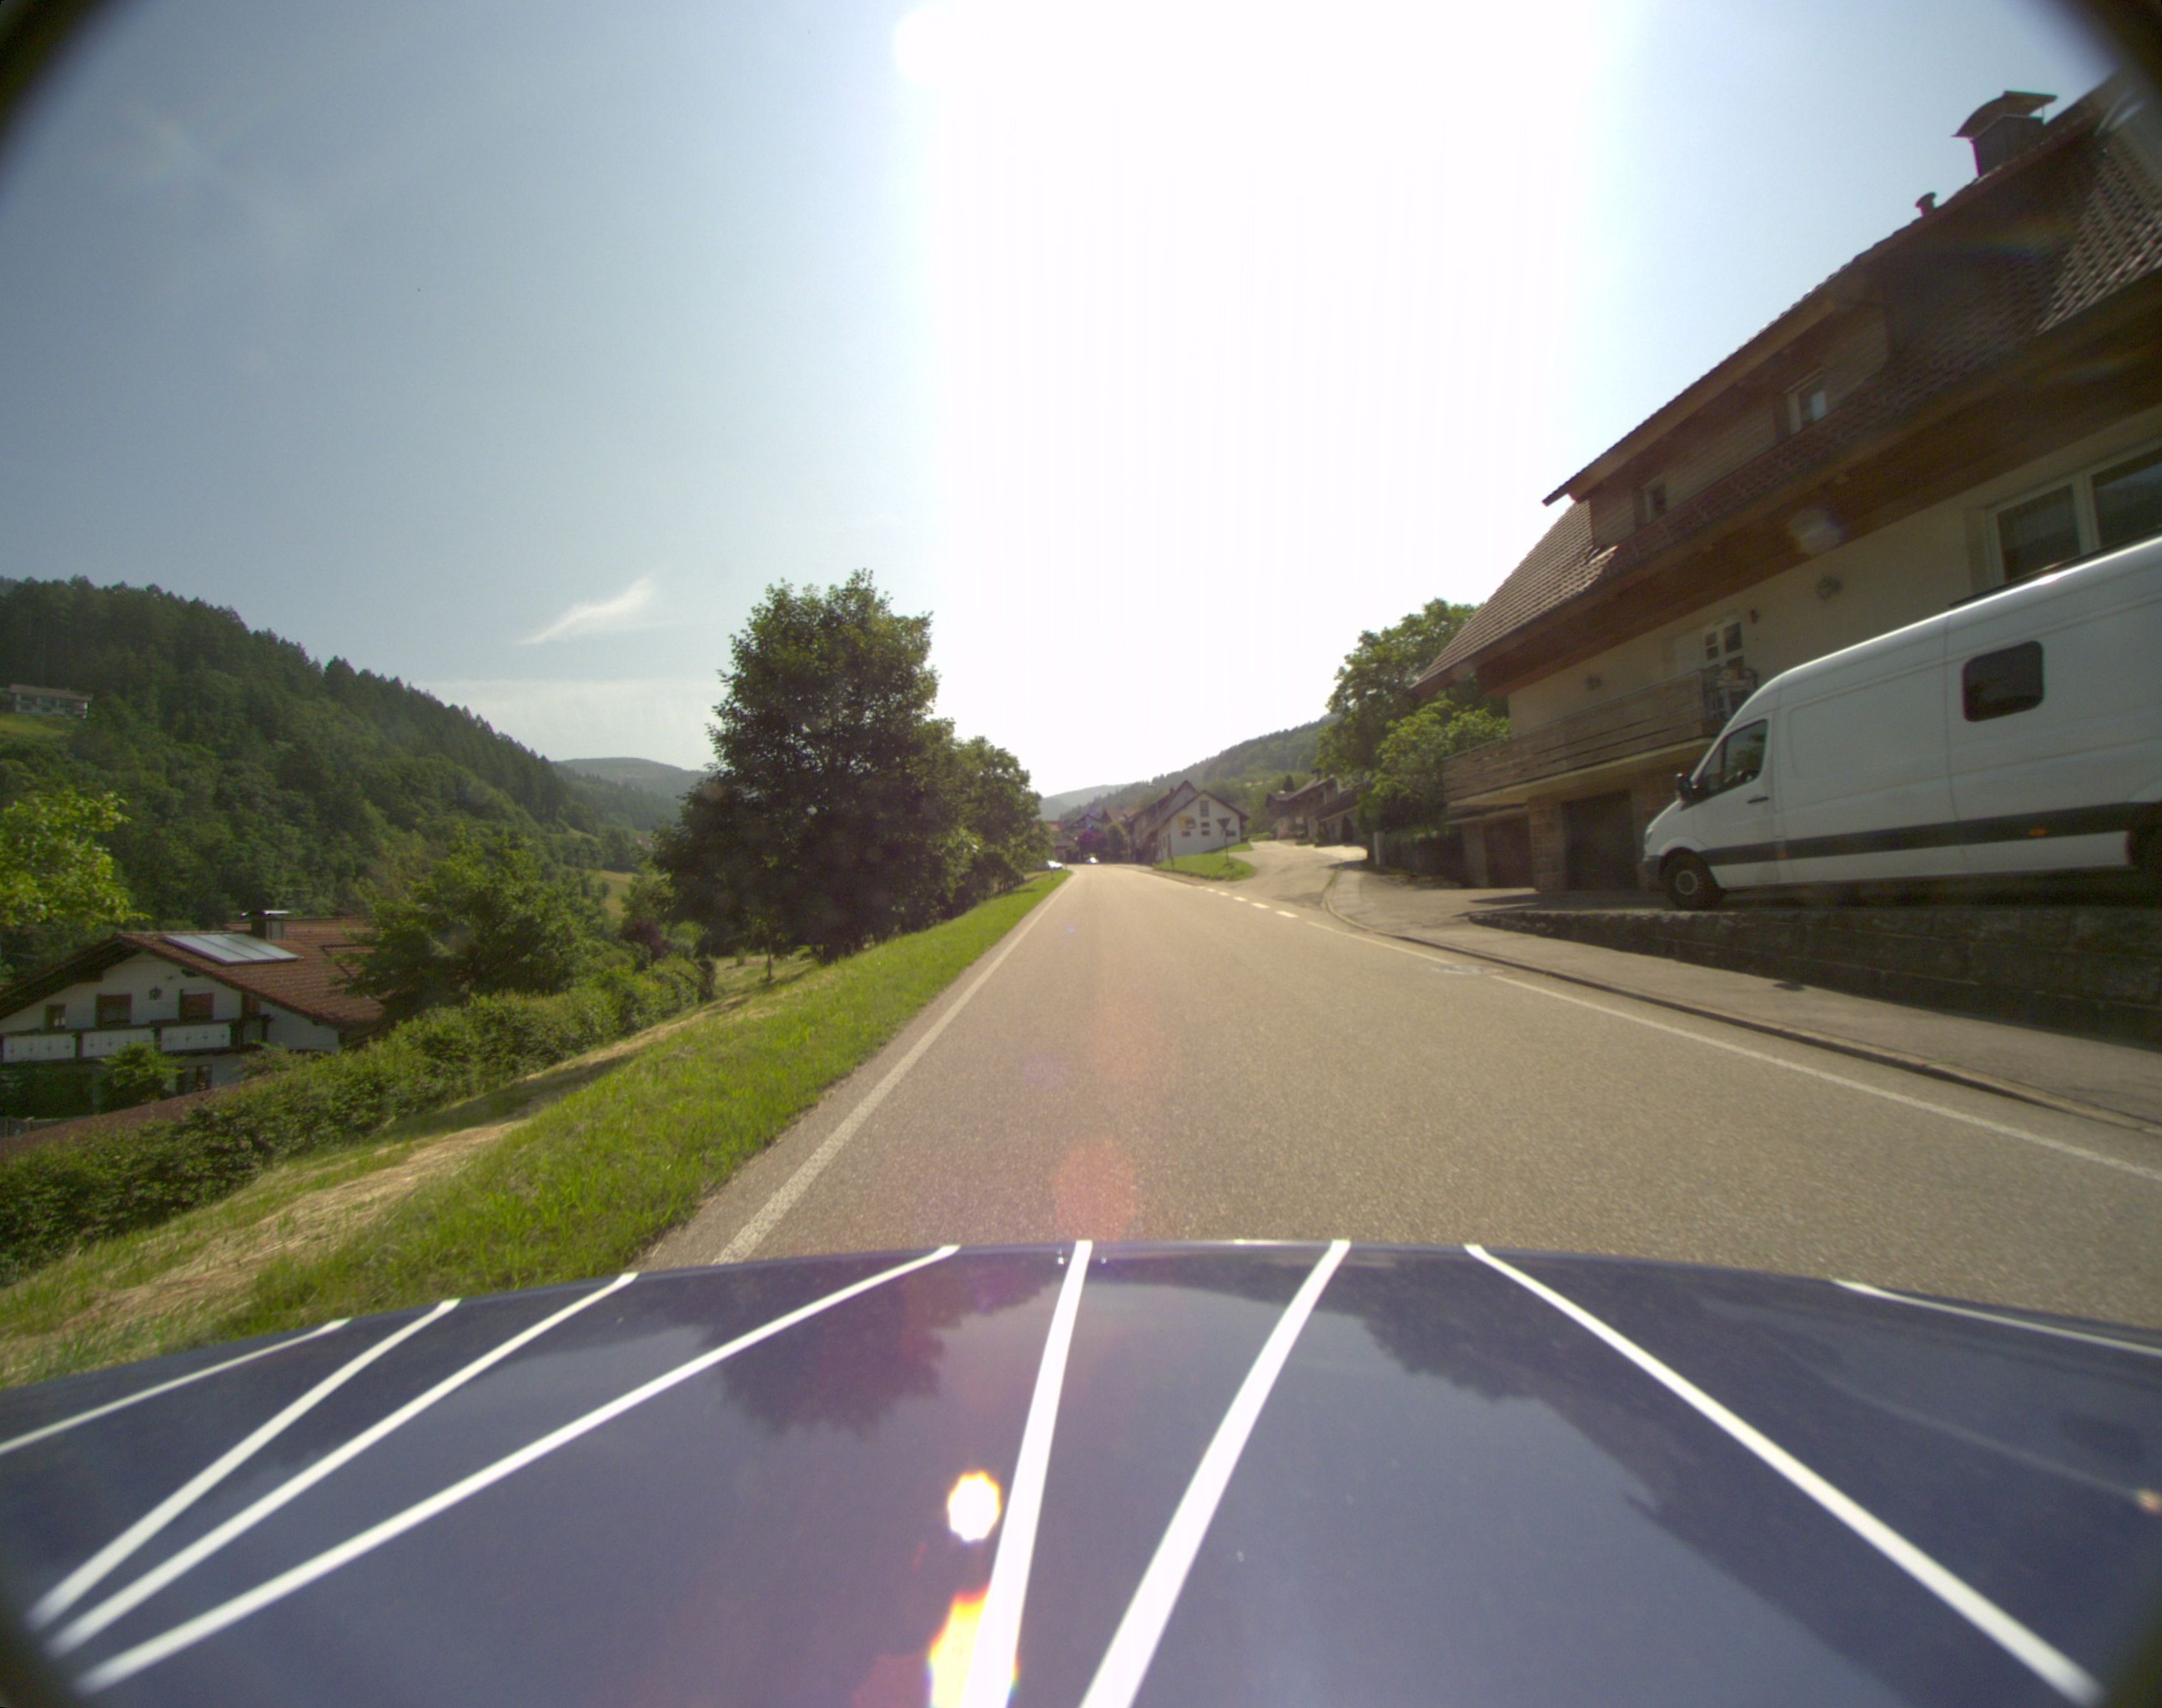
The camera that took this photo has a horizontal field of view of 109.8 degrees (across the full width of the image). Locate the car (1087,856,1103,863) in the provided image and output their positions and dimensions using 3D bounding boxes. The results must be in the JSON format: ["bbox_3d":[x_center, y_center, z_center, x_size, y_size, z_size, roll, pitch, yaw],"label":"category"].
[{"bbox_3d":[2.846,1.078,156.526,1.789,1.331,4.689,-2,0,-18],"label":"car"}]

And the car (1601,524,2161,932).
[{"bbox_3d":[8.199,-0.802,6.721,2.073,2.671,7.177,-5,-3,0],"label":"car"}]

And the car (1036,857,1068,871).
[{"bbox_3d":[-4.152,1.420,107.613,1.908,1.562,4.451,-6,0,-44],"label":"car"}]
